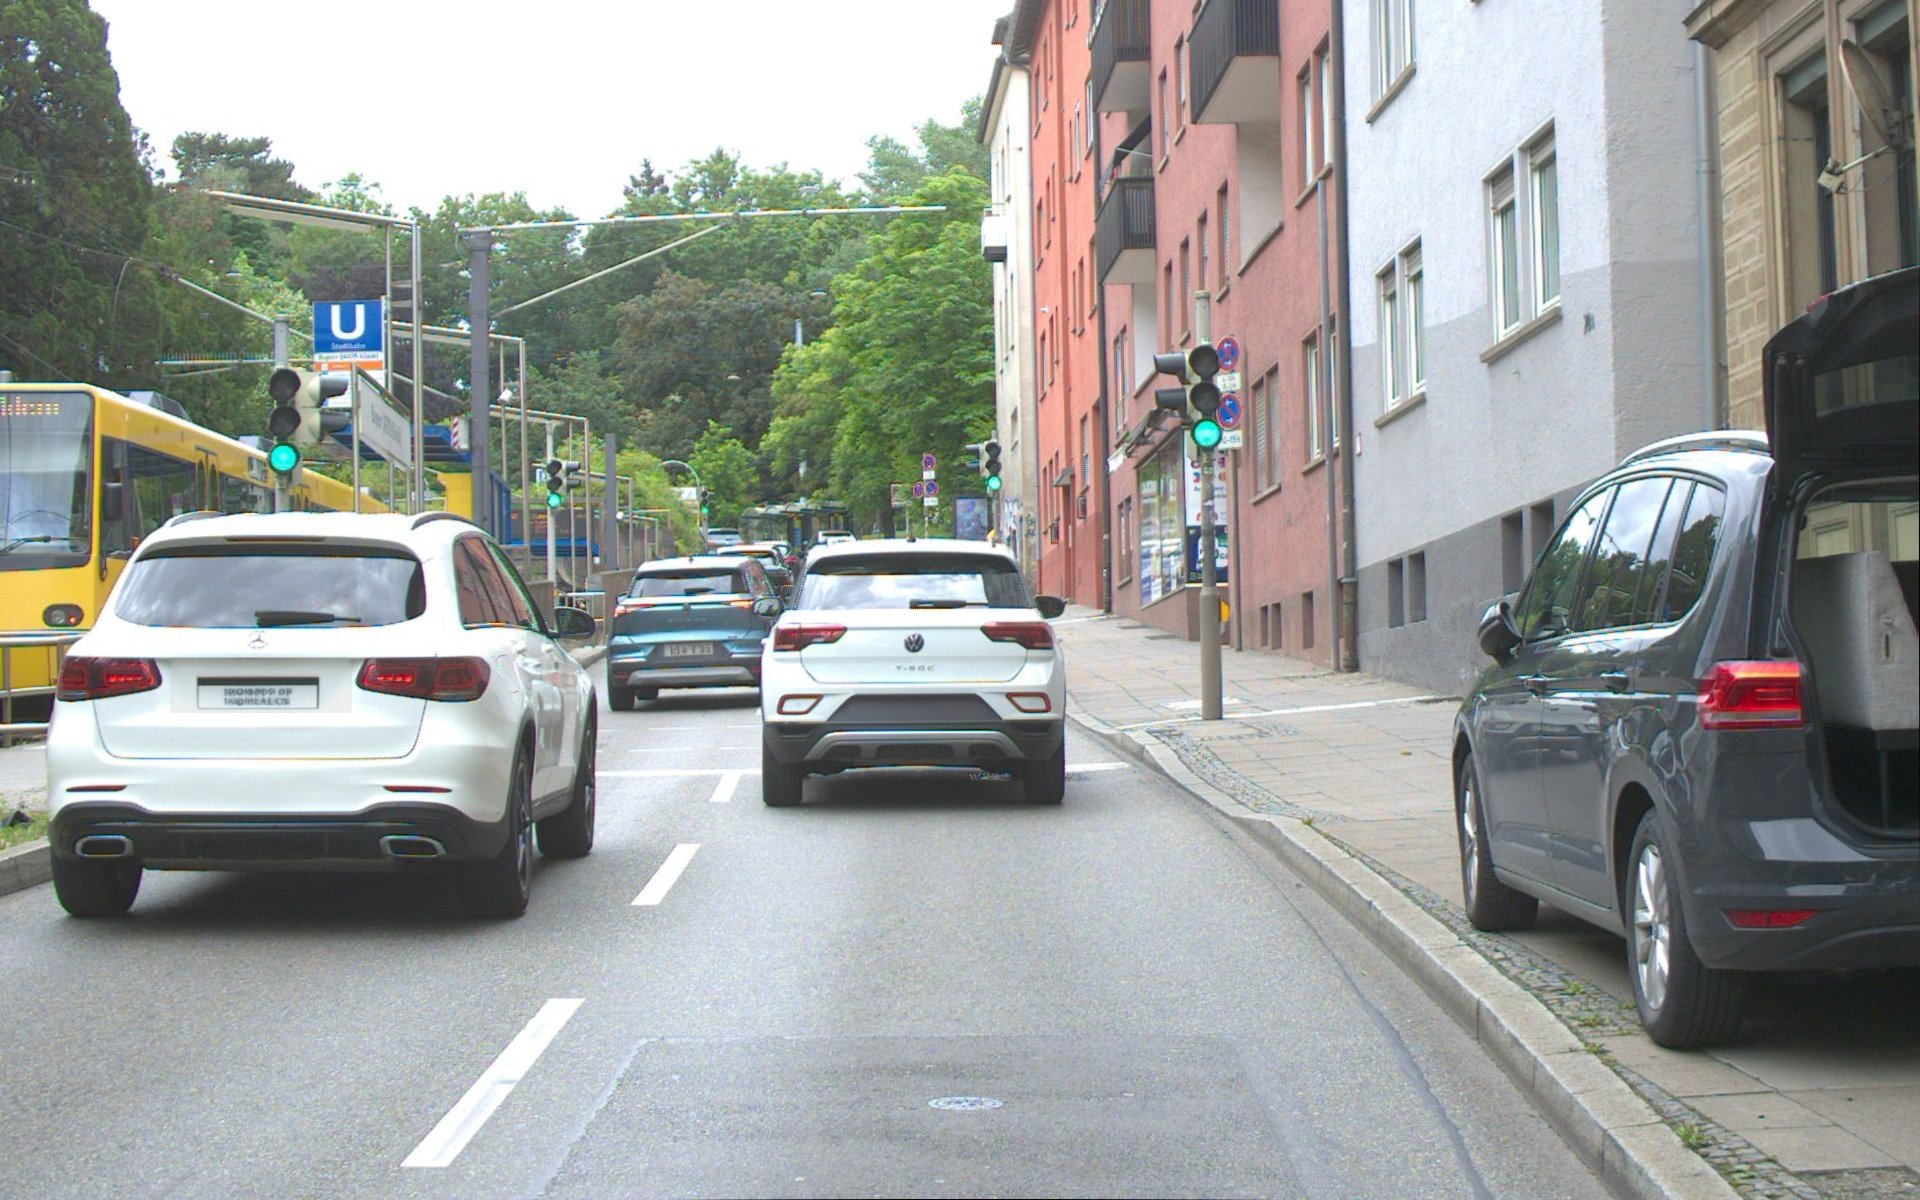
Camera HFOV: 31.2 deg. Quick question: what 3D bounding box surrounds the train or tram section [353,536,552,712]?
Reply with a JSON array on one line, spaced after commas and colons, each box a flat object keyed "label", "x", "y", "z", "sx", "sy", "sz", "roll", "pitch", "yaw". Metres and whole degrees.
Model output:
[{"label": "train or tram section", "x": -11.076, "y": 0.548, "z": 76.279, "sx": 2.949, "sy": 3.497, "sz": 12.987, "roll": -2, "pitch": -1, "yaw": -2}]

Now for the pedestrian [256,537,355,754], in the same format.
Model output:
[{"label": "pedestrian", "x": -5.117, "y": 0.348, "z": 26.917, "sx": 0.678, "sy": 1.674, "sz": 0.685, "roll": -1, "pitch": 1, "yaw": -4}]

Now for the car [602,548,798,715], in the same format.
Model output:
[{"label": "car", "x": -2.691, "y": 0.282, "z": 36.355, "sx": 1.860, "sy": 1.626, "sz": 3.959, "roll": -1, "pitch": 1, "yaw": -2}]

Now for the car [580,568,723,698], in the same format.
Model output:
[{"label": "car", "x": -4.693, "y": 0.470, "z": 52.837, "sx": 1.993, "sy": 1.875, "sz": 4.001, "roll": 0, "pitch": 1, "yaw": -2}]

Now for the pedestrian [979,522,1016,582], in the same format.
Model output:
[{"label": "pedestrian", "x": 1.087, "y": -1.400, "z": 100.029, "sx": 0.833, "sy": 1.706, "sz": 0.822, "roll": -3, "pitch": 1, "yaw": -15}]

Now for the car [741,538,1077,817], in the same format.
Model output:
[{"label": "car", "x": -0.306, "y": 0.396, "z": 21.035, "sx": 1.865, "sy": 1.551, "sz": 3.895, "roll": 0, "pitch": 1, "yaw": -1}]

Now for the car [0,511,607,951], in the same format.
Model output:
[{"label": "car", "x": -2.683, "y": 0.452, "z": 15.042, "sx": 1.877, "sy": 1.646, "sz": 4.342, "roll": 0, "pitch": 1, "yaw": -1}]

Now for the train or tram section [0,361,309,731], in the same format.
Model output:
[{"label": "train or tram section", "x": -9.885, "y": -0.343, "z": 39.130, "sx": 2.949, "sy": 3.531, "sz": 12.398, "roll": -1, "pitch": -1, "yaw": -2}]

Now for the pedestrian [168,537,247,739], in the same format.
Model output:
[{"label": "pedestrian", "x": -6.390, "y": 0.313, "z": 29.212, "sx": 0.621, "sy": 1.689, "sz": 0.660, "roll": -1, "pitch": 0, "yaw": -11}]

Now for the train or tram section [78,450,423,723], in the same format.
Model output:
[{"label": "train or tram section", "x": -10.309, "y": 0.031, "z": 51.448, "sx": 2.949, "sy": 3.460, "sz": 12.218, "roll": -1, "pitch": -2, "yaw": -2}]

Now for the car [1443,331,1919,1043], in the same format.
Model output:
[{"label": "car", "x": 2.754, "y": 0.147, "z": 10.473, "sx": 1.857, "sy": 1.705, "sz": 4.308, "roll": -2, "pitch": 1, "yaw": -1}]

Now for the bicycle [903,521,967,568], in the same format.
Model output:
[{"label": "bicycle", "x": -0.682, "y": -1.486, "z": 92.763, "sx": 0.639, "sy": 1.139, "sz": 2.065, "roll": -13, "pitch": 6, "yaw": -27}]

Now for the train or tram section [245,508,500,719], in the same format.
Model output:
[{"label": "train or tram section", "x": -10.663, "y": 0.349, "z": 63.713, "sx": 2.949, "sy": 3.472, "sz": 12.219, "roll": -1, "pitch": -1, "yaw": -2}]
